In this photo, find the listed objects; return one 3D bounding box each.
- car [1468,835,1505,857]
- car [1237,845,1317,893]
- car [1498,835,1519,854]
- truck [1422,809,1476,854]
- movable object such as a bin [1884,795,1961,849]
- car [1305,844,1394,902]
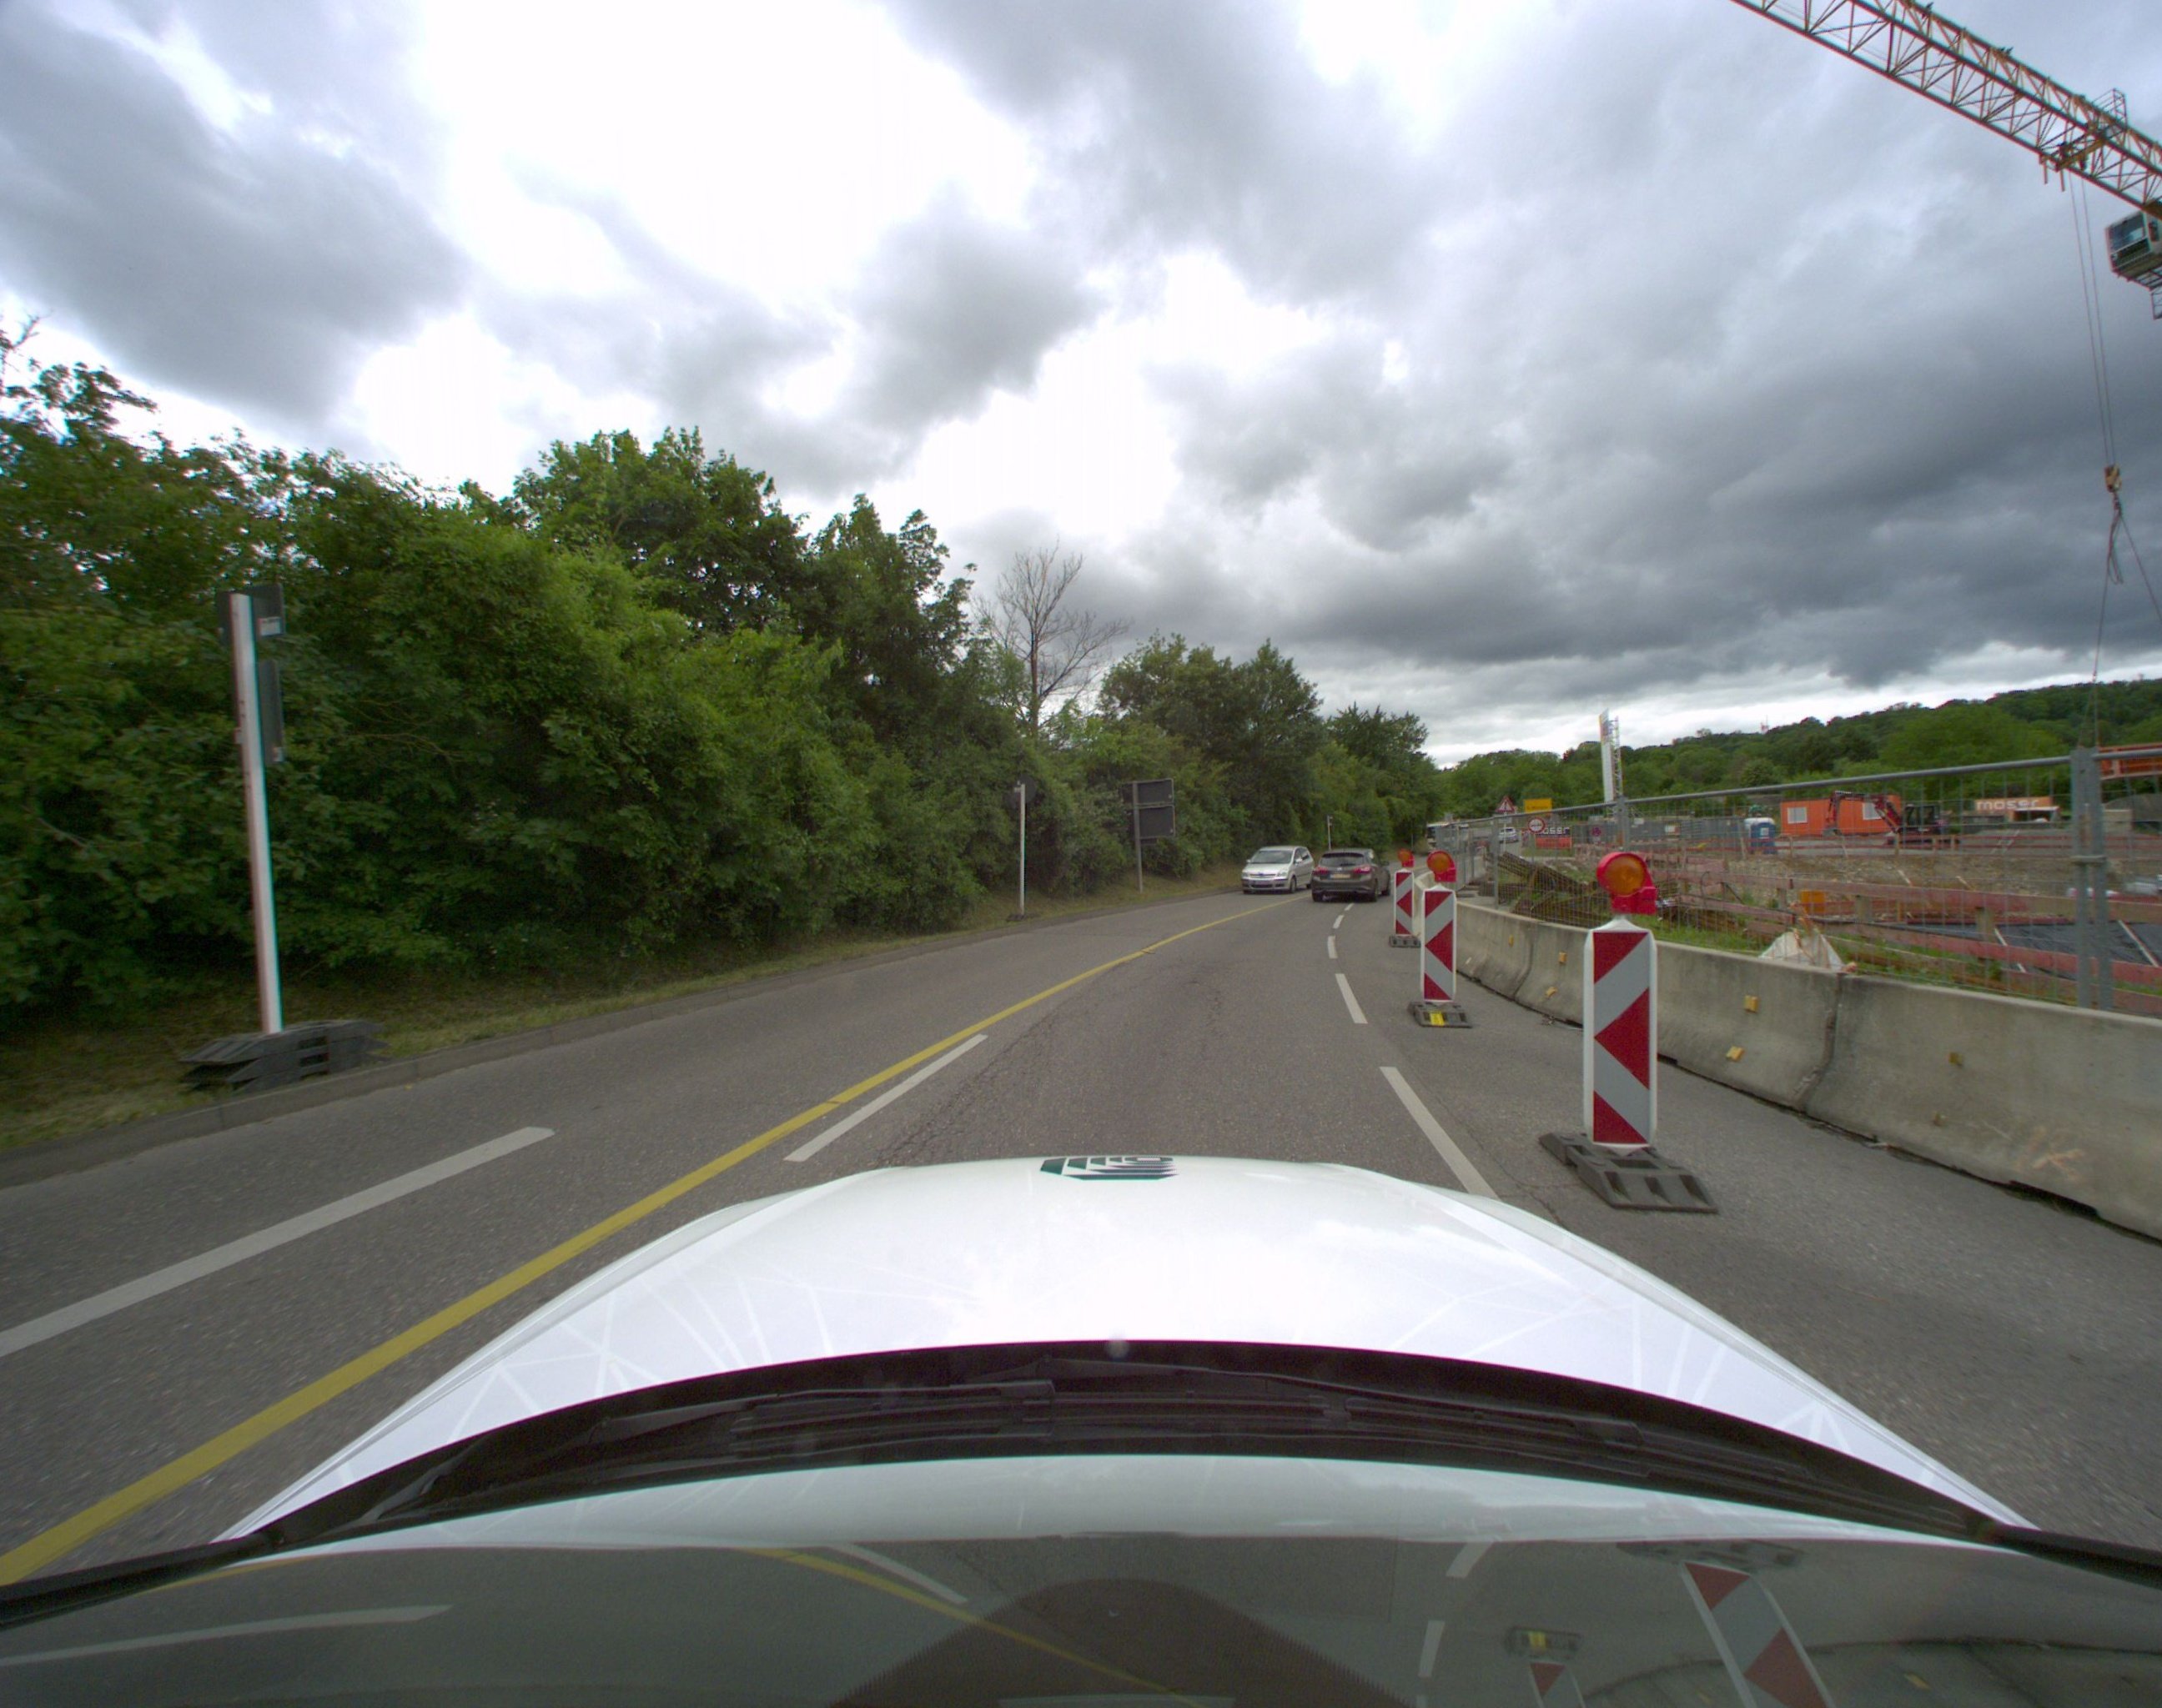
[{"bbox_3d":[29.694,-0.584,59.560,1.802,1.552,3.813,-1,0,35],"label":"car"},{"bbox_3d":[7.003,0.482,28.769,1.640,1.552,4.213,0,0,29],"label":"car"},{"bbox_3d":[41.937,-0.937,79.802,1.695,1.675,4.024,-3,-1,28],"label":"car"},{"bbox_3d":[30.397,-1.912,67.046,2.792,3.335,8.435,-3,1,32],"label":"truck"},{"bbox_3d":[51.625,-1.926,50.039,2.764,3.077,1.852,-3,-1,31],"label":"movable object such as a bin"},{"bbox_3d":[8.081,0.504,24.288,1.780,1.552,4.025,0,0,29],"label":"car"}]
